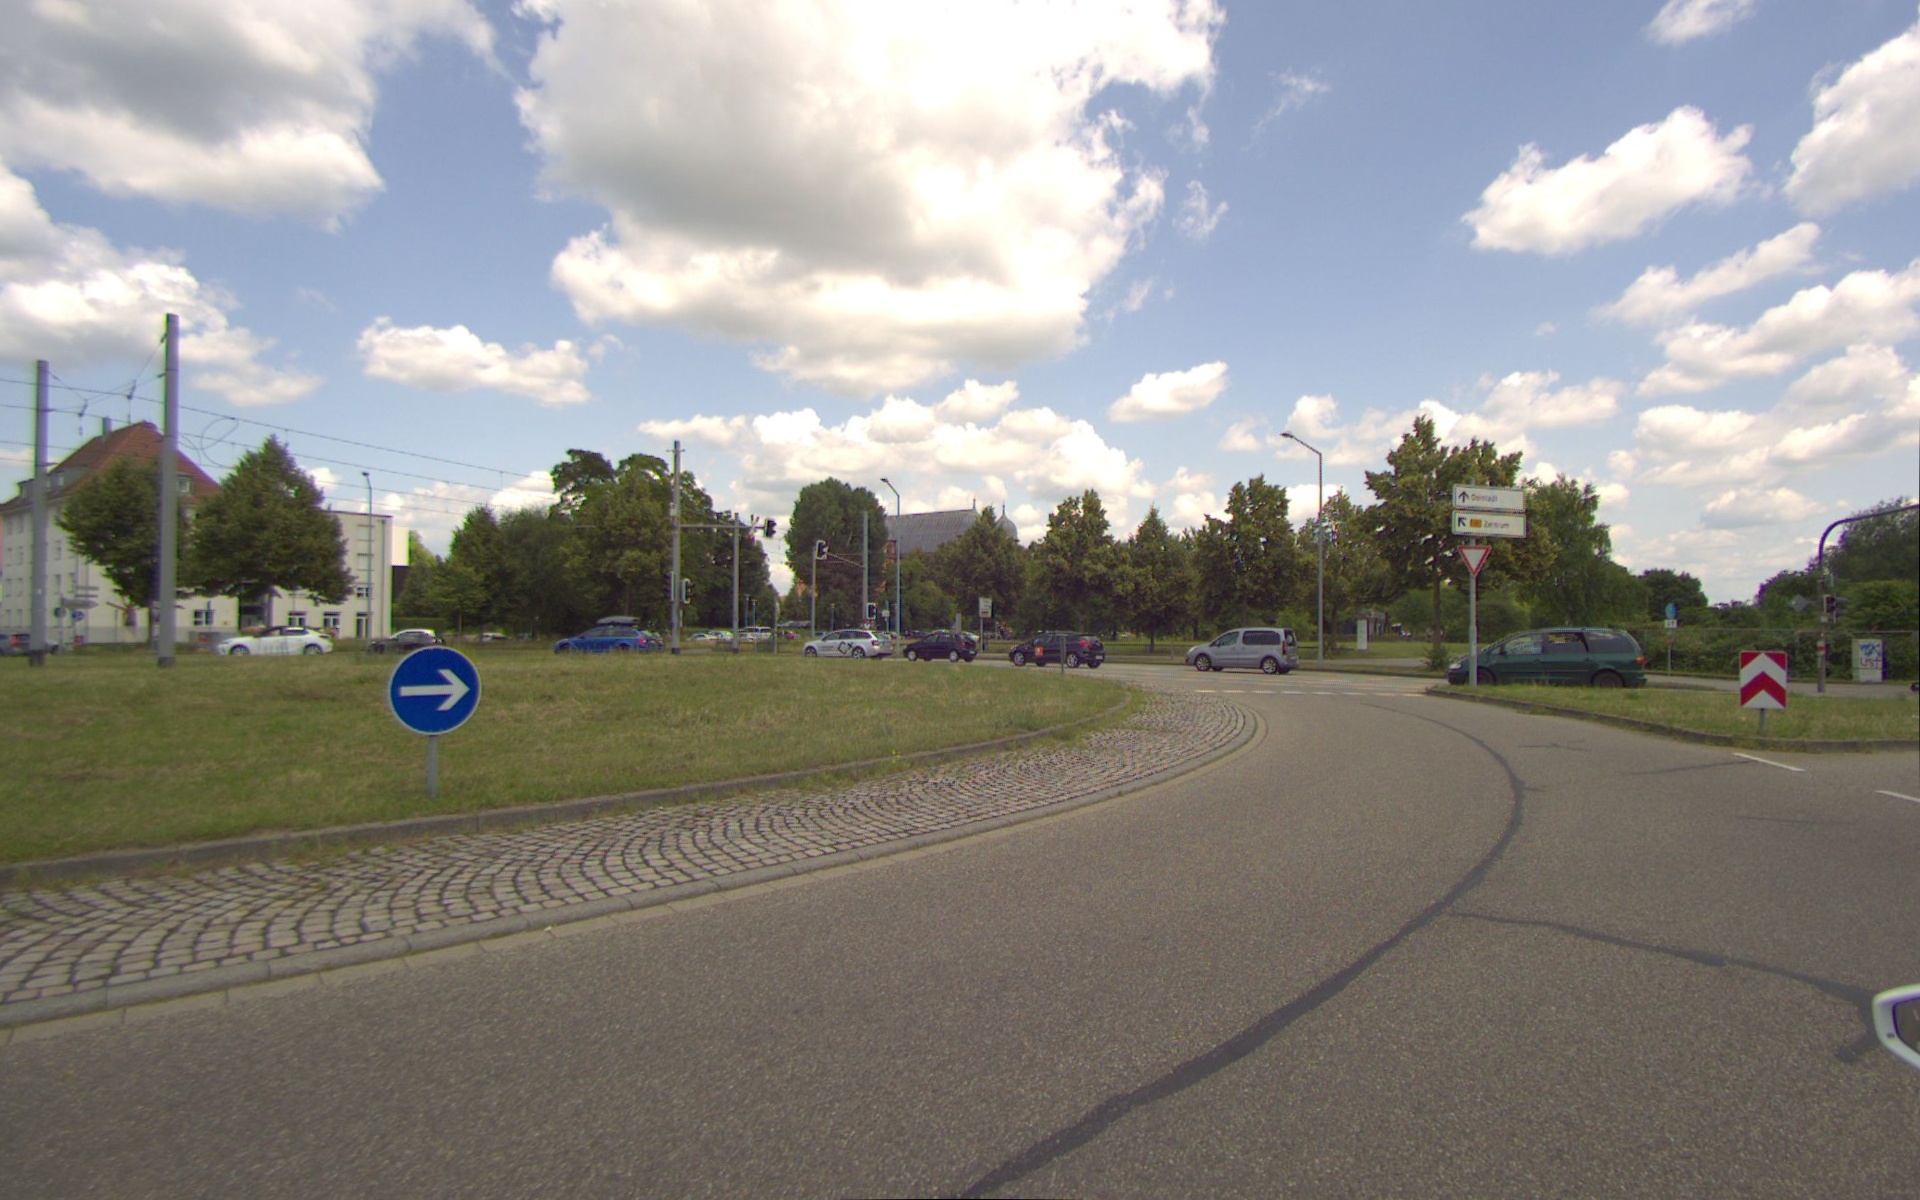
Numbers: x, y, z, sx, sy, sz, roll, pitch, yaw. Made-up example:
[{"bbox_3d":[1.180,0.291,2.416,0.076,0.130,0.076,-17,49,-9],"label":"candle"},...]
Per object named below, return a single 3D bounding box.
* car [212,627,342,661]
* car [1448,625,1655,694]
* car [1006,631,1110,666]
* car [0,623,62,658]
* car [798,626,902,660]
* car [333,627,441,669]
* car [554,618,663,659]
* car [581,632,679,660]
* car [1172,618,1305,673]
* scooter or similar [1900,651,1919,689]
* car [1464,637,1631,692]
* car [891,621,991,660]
[{"bbox_3d":[-28.803,1.845,42.517,4.253,1.347,1.988,1,-1,-25],"label":"car"},{"bbox_3d":[15.242,1.495,26.192,4.507,1.613,1.912,0,-2,27],"label":"car"},{"bbox_3d":[3.953,1.963,40.855,3.919,1.358,1.795,-2,-4,39],"label":"car"},{"bbox_3d":[-48.864,2.055,51.106,4.843,1.648,2.067,0,1,7],"label":"car"},{"bbox_3d":[-5.136,1.977,46.943,4.422,1.542,2.122,-1,-1,25],"label":"car"},{"bbox_3d":[-29.568,2.443,52.009,4.660,2.040,1.988,0,-1,-25],"label":"car"},{"bbox_3d":[-15.856,1.731,45.455,4.319,1.822,1.757,0,-1,3],"label":"car"},{"bbox_3d":[-16.679,2.338,50.985,4.408,1.340,1.952,0,-1,-8],"label":"car"},{"bbox_3d":[11.019,1.751,39.829,4.707,2.040,1.994,-1,-1,34],"label":"car"},{"bbox_3d":[30.620,2.207,31.633,1.411,1.181,0.542,0,-1,10],"label":"scooter or similar"},{"bbox_3d":[17.136,1.846,29.505,4.116,1.442,1.909,0,-1,29],"label":"car"},{"bbox_3d":[-0.971,1.974,50.206,4.582,1.845,2.120,-1,-1,33],"label":"car"}]
